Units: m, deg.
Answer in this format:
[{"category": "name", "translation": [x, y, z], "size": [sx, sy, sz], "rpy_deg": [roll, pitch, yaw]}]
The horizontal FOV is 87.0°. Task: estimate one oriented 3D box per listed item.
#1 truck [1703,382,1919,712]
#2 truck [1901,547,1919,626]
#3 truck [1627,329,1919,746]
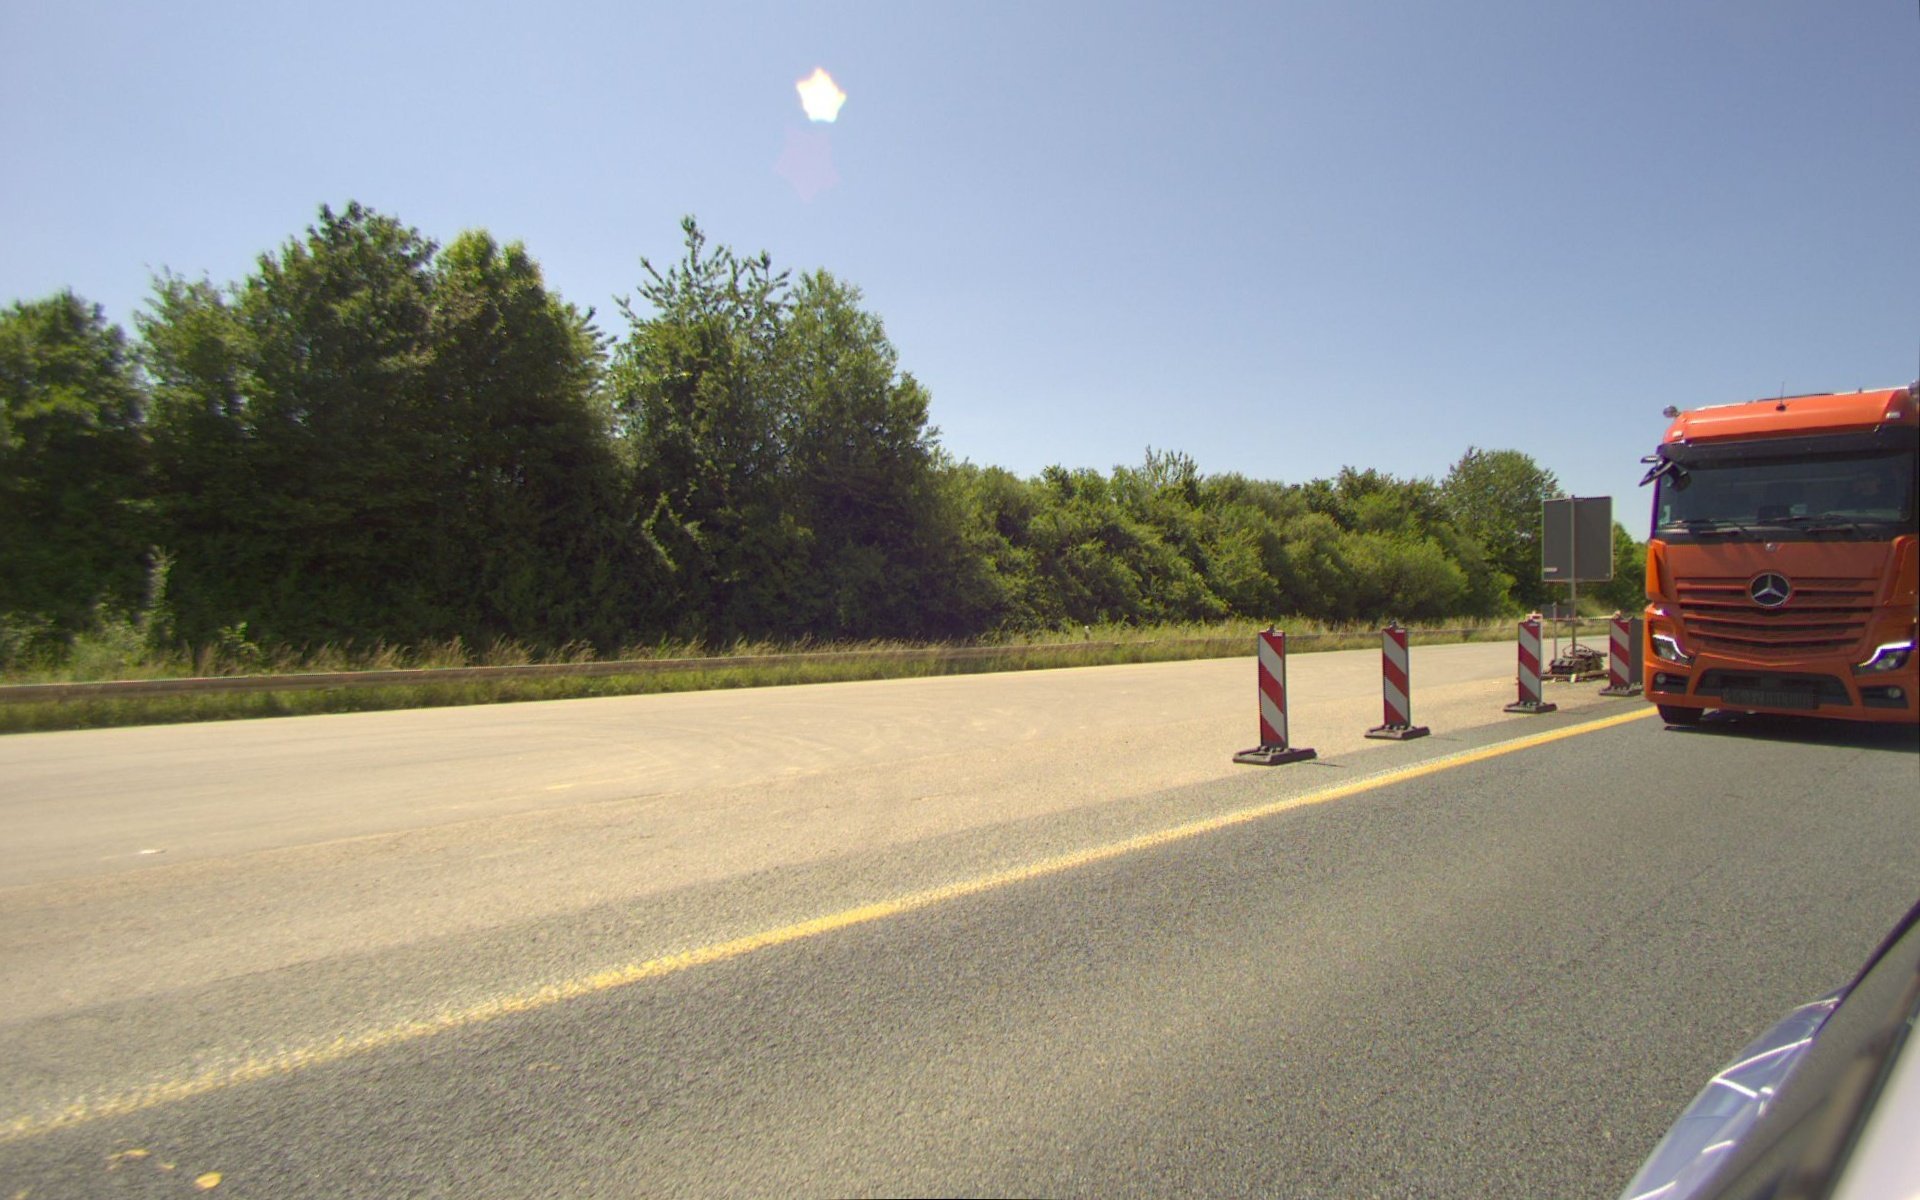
[{"category": "truck", "translation": [16.006, -0.719, 17.460], "size": [12.995, 4.060, 2.685], "rpy_deg": [-1, 0, -43]}, {"category": "truck", "translation": [55.140, -0.709, 56.722], "size": [12.887, 4.105, 2.478], "rpy_deg": [0, 0, -42]}, {"category": "truck", "translation": [11.059, -0.649, 12.919], "size": [6.610, 4.061, 2.686], "rpy_deg": [-1, 0, -42]}]
